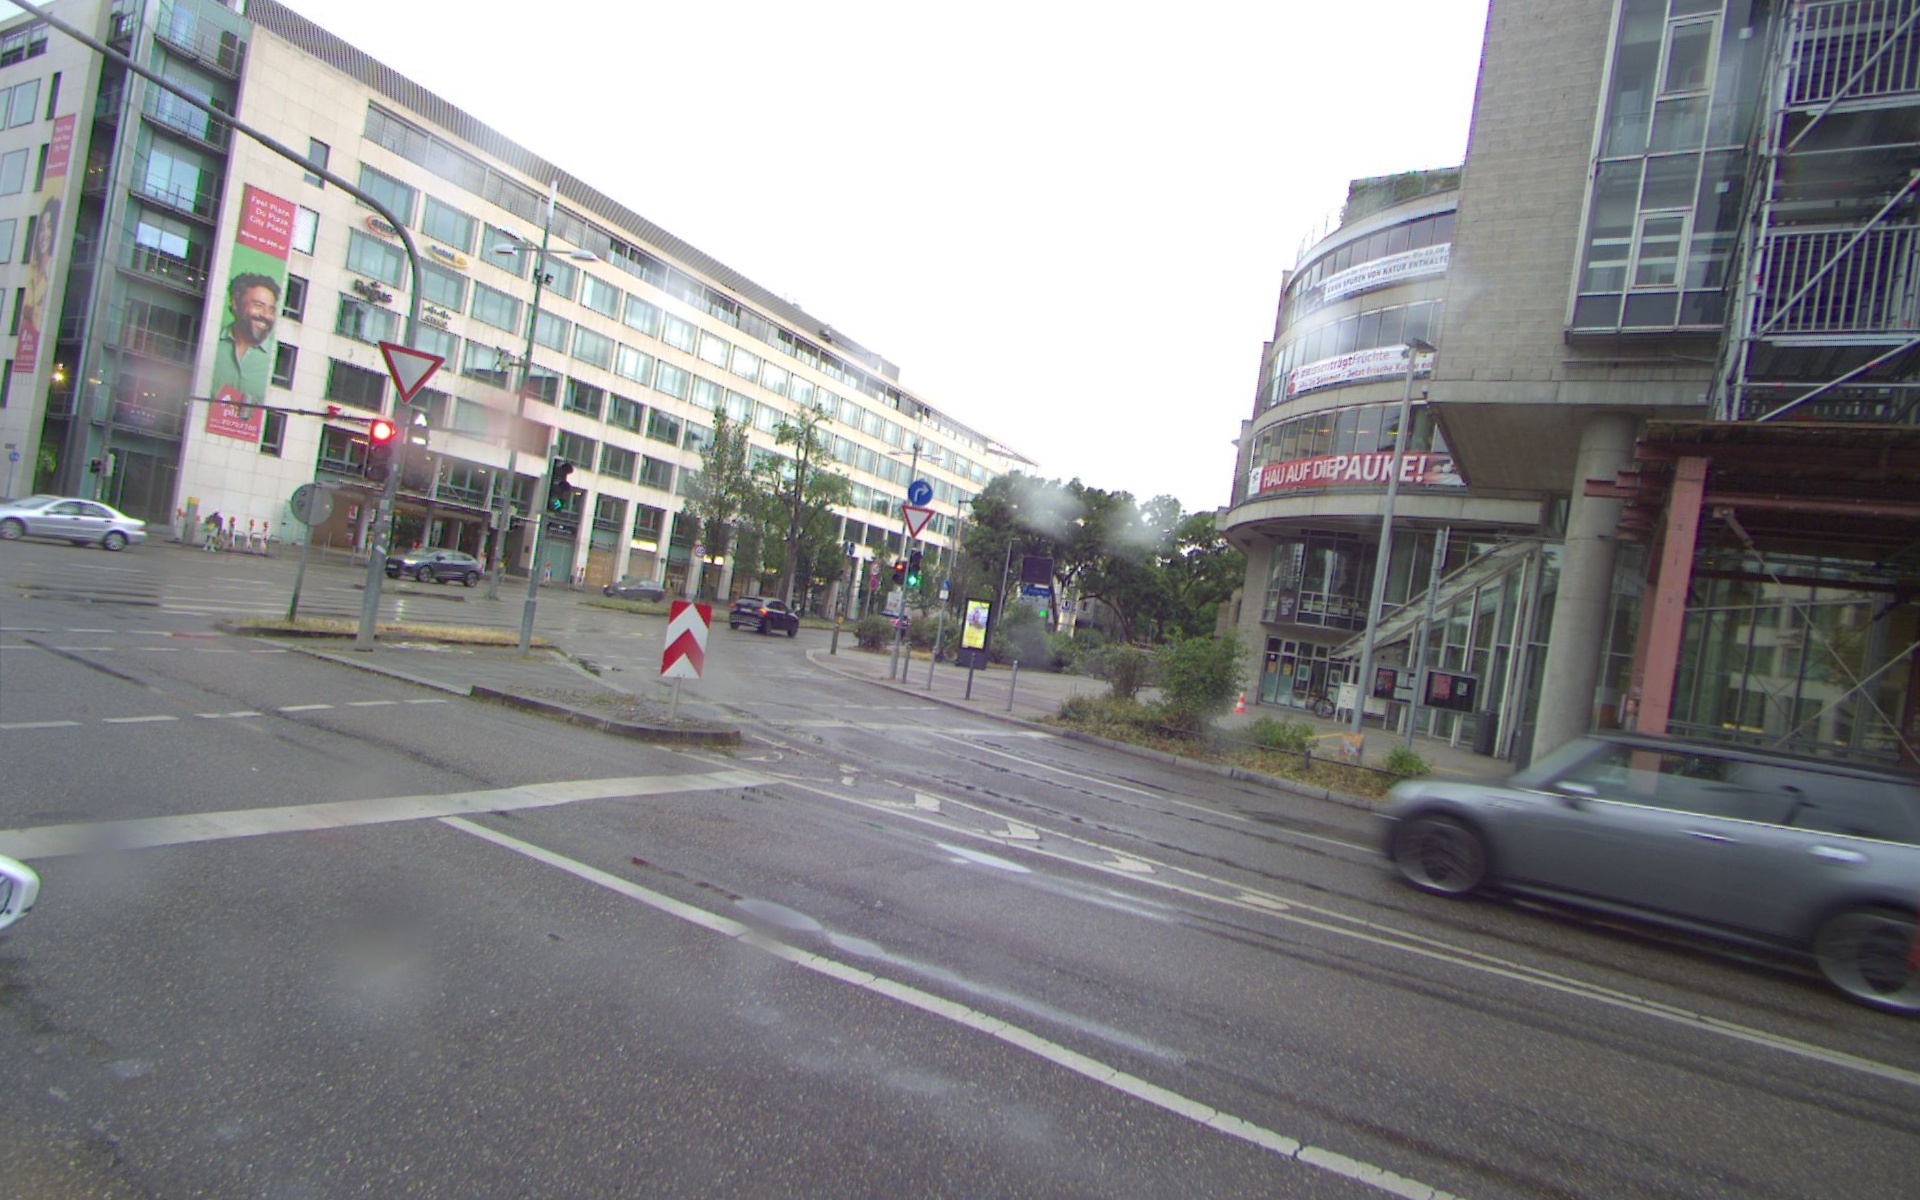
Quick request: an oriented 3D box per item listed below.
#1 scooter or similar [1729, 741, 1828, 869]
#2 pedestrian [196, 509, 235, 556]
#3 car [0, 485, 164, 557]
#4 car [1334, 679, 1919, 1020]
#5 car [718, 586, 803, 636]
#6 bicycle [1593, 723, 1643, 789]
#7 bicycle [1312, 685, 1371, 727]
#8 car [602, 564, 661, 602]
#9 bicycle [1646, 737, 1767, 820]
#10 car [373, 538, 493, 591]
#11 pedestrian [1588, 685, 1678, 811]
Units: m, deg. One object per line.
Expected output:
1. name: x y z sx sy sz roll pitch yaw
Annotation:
1. scooter or similar: 9.238 2.268 11.411 0.577 1.208 1.780 7 -1 34
2. pedestrian: -32.127 -2.920 43.416 0.822 1.838 0.963 6 -1 31
3. car: -26.917 -2.419 29.864 1.962 1.494 4.738 8 -1 18
4. car: 4.909 1.588 7.227 3.670 1.472 1.738 6 -2 42
5. car: -8.518 0.515 43.260 1.898 1.715 4.004 8 -1 14
6. bicycle: 13.616 3.197 20.855 0.576 1.208 1.614 7 -2 27
7. bicycle: 13.472 3.743 35.524 1.753 1.208 0.586 6 -1 29
8. car: -21.820 -1.090 67.075 1.519 2.036 4.675 7 -2 10
9. bicycle: 13.502 3.223 18.222 1.584 1.208 0.587 7 -1 6
10. car: -22.970 -1.518 44.049 1.798 1.627 4.492 7 -2 21
11. pedestrian: 10.495 2.280 15.721 0.776 1.796 0.781 7 -1 13
